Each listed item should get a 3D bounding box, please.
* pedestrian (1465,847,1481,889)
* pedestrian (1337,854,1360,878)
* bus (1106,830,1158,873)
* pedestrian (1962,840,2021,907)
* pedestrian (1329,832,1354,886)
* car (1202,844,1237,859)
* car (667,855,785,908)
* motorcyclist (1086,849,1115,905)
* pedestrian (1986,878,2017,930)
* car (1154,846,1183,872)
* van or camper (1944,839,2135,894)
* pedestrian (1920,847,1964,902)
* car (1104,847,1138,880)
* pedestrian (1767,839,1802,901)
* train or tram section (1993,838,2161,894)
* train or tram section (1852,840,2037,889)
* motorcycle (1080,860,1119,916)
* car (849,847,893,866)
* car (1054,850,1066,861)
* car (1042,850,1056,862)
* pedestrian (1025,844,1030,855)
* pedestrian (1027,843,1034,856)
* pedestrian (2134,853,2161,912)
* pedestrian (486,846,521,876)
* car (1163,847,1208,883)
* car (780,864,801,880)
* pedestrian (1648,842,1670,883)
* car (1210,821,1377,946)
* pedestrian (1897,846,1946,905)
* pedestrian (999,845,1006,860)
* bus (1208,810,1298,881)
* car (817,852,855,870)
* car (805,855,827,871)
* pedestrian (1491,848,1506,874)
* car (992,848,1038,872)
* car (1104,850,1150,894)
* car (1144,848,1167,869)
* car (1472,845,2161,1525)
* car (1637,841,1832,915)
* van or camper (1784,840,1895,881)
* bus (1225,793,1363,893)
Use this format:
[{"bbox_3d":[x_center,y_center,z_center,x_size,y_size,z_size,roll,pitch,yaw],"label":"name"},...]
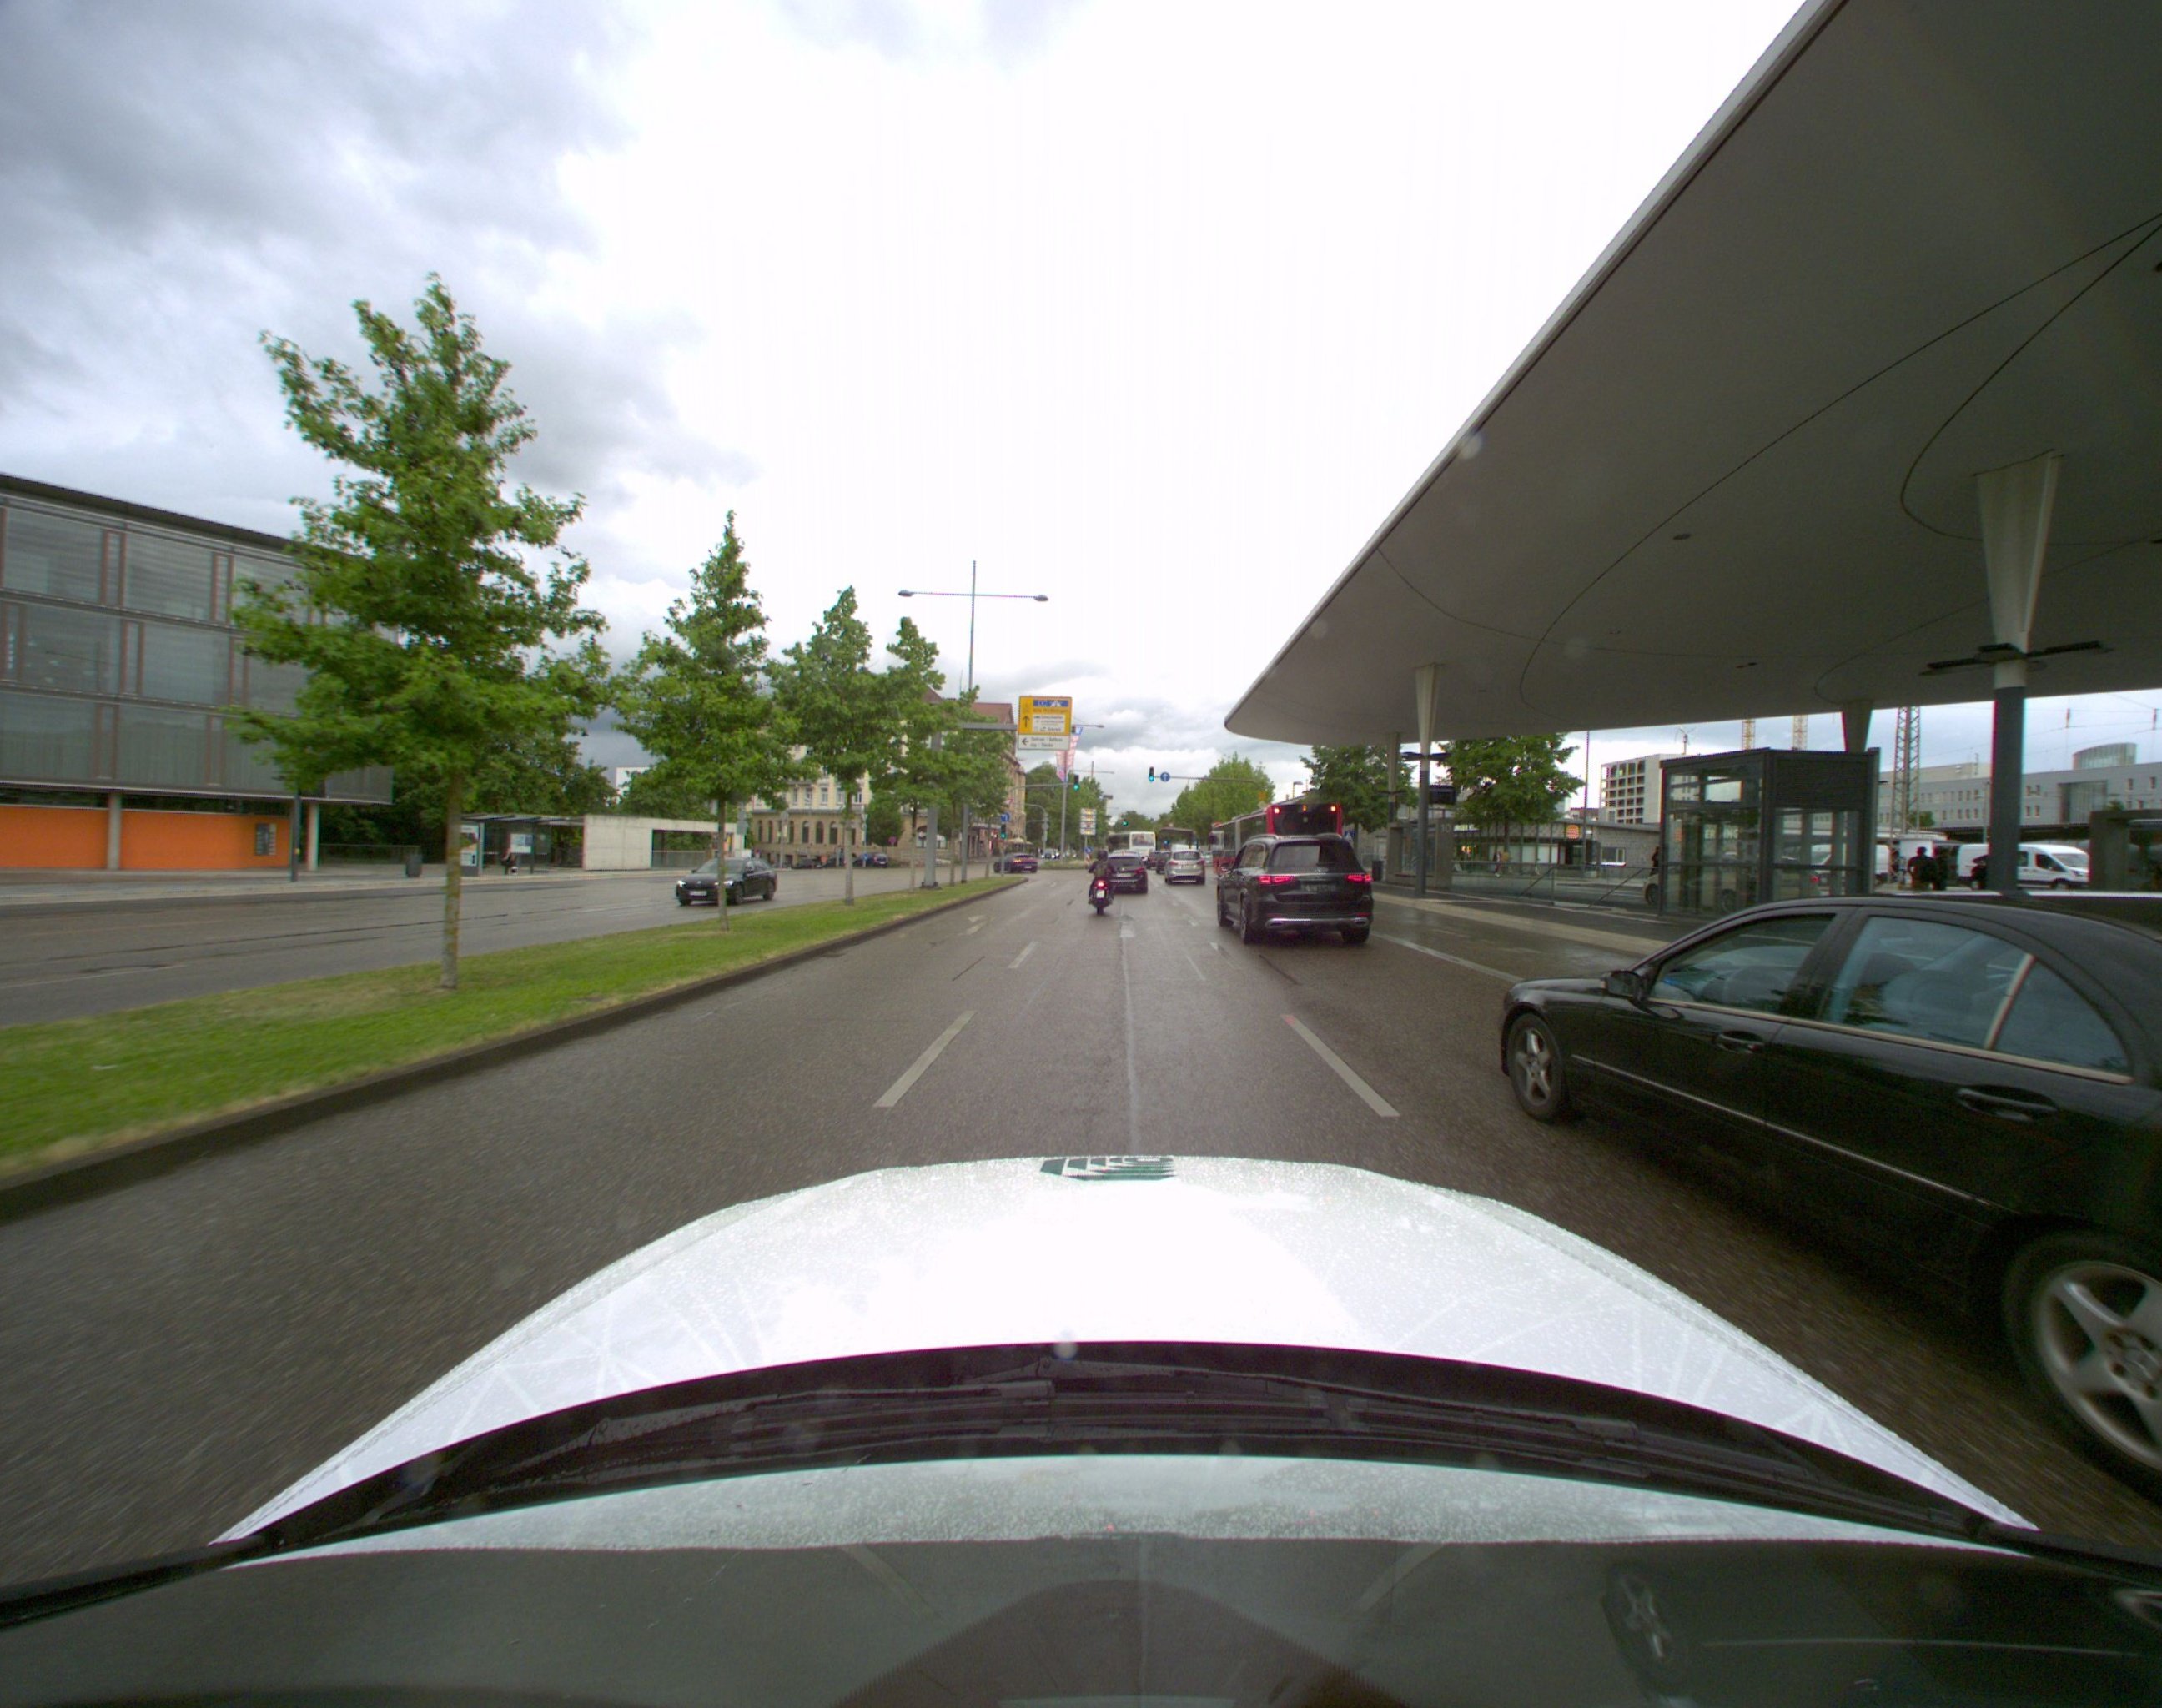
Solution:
[{"bbox_3d":[15.908,0.575,33.061,0.569,1.678,0.586,0,-1,29],"label":"pedestrian"},{"bbox_3d":[11.699,0.511,35.635,0.906,0.985,0.636,2,-4,16],"label":"pedestrian"},{"bbox_3d":[4.987,-0.249,82.039,2.836,3.988,11.828,1,0,-8],"label":"bus"},{"bbox_3d":[24.361,0.511,21.800,0.704,1.707,0.770,-3,2,15],"label":"pedestrian"},{"bbox_3d":[10.041,0.188,31.359,0.772,2.014,0.785,4,-2,15],"label":"pedestrian"},{"bbox_3d":[15.363,-0.236,90.414,1.588,1.567,3.754,-1,0,-36],"label":"car"},{"bbox_3d":[-11.153,0.800,25.957,1.675,1.528,4.639,0,0,0],"label":"car"},{"bbox_3d":[0.487,0.555,20.073,0.638,1.347,0.690,0,0,6],"label":"motorcyclist"},{"bbox_3d":[25.839,1.399,22.866,0.469,1.391,0.564,2,-5,37],"label":"pedestrian"},{"bbox_3d":[5.560,0.273,51.992,1.569,1.567,3.874,-1,0,3],"label":"car"},{"bbox_3d":[46.911,0.591,40.173,2.086,2.508,6.214,1,0,-1],"label":"van or camper"},{"bbox_3d":[25.737,0.610,24.343,0.582,1.578,0.766,7,-4,-29],"label":"pedestrian"},{"bbox_3d":[1.993,0.446,40.718,1.569,1.567,3.874,-1,0,3],"label":"car"},{"bbox_3d":[23.504,0.532,27.205,0.717,2.014,0.673,3,-4,29],"label":"pedestrian"},{"bbox_3d":[73.799,0.841,58.759,3.119,3.659,11.622,5,0,2],"label":"train or tram section"},{"bbox_3d":[74.289,0.782,70.746,3.119,3.659,12.330,5,0,2],"label":"train or tram section"},{"bbox_3d":[0.480,0.800,19.955,0.789,1.262,1.858,-1,0,6],"label":"motorcycle"},{"bbox_3d":[-18.864,0.220,73.093,3.658,1.628,1.854,1,-1,35],"label":"car"},{"bbox_3d":[-3.218,0.212,124.722,1.569,1.567,3.432,-1,0,3],"label":"car"},{"bbox_3d":[-4.668,0.283,118.415,1.773,1.567,3.432,-1,0,3],"label":"car"},{"bbox_3d":[-8.397,-0.661,128.355,0.555,1.778,0.502,0,0,37],"label":"pedestrian"},{"bbox_3d":[-7.868,-0.747,126.862,0.727,1.965,0.820,0,0,-24],"label":"pedestrian"},{"bbox_3d":[25.366,0.663,19.093,0.558,1.361,0.613,1,-1,-1],"label":"pedestrian"},{"bbox_3d":[-26.307,0.308,37.127,0.967,1.267,0.854,5,1,23],"label":"pedestrian"},{"bbox_3d":[4.772,0.474,37.725,1.734,1.567,3.874,-1,0,3],"label":"car"},{"bbox_3d":[-31.950,1.990,89.513,1.667,1.604,3.223,-3,1,-28],"label":"car"},{"bbox_3d":[23.224,0.327,32.717,0.574,1.578,0.777,1,-5,43],"label":"pedestrian"},{"bbox_3d":[3.631,0.440,14.875,1.949,1.876,4.877,-1,0,3],"label":"car"},{"bbox_3d":[23.520,0.597,22.788,0.597,1.582,0.710,4,-2,-7],"label":"pedestrian"},{"bbox_3d":[-10.522,-0.239,109.059,0.727,2.013,0.820,0,0,-24],"label":"pedestrian"},{"bbox_3d":[8.605,-0.404,41.965,3.277,3.289,8.857,0,0,3],"label":"bus"},{"bbox_3d":[-24.697,0.685,81.906,2.130,1.776,4.341,0,0,-40],"label":"car"},{"bbox_3d":[-28.120,0.970,86.382,1.667,1.604,3.224,-2,1,-26],"label":"car"},{"bbox_3d":[25.884,0.433,50.501,0.601,1.578,0.674,4,-4,8],"label":"pedestrian"},{"bbox_3d":[-4.657,0.401,56.982,1.825,1.570,4.368,-1,0,-25],"label":"car"},{"bbox_3d":[1.725,0.606,30.192,1.569,1.504,3.875,-1,0,3],"label":"car"},{"bbox_3d":[5.768,0.317,63.445,1.569,1.567,3.798,-1,0,3],"label":"car"},{"bbox_3d":[3.321,0.744,3.103,1.691,1.462,4.306,0,2,1],"label":"car"},{"bbox_3d":[16.618,0.553,21.021,1.705,1.662,4.241,2,0,2],"label":"car"},{"bbox_3d":[44.554,0.373,47.895,4.673,2.269,2.109,1,-1,-2],"label":"van or camper"},{"bbox_3d":[8.014,-0.389,32.371,3.272,3.292,10.888,0,0,3],"label":"bus"}]
